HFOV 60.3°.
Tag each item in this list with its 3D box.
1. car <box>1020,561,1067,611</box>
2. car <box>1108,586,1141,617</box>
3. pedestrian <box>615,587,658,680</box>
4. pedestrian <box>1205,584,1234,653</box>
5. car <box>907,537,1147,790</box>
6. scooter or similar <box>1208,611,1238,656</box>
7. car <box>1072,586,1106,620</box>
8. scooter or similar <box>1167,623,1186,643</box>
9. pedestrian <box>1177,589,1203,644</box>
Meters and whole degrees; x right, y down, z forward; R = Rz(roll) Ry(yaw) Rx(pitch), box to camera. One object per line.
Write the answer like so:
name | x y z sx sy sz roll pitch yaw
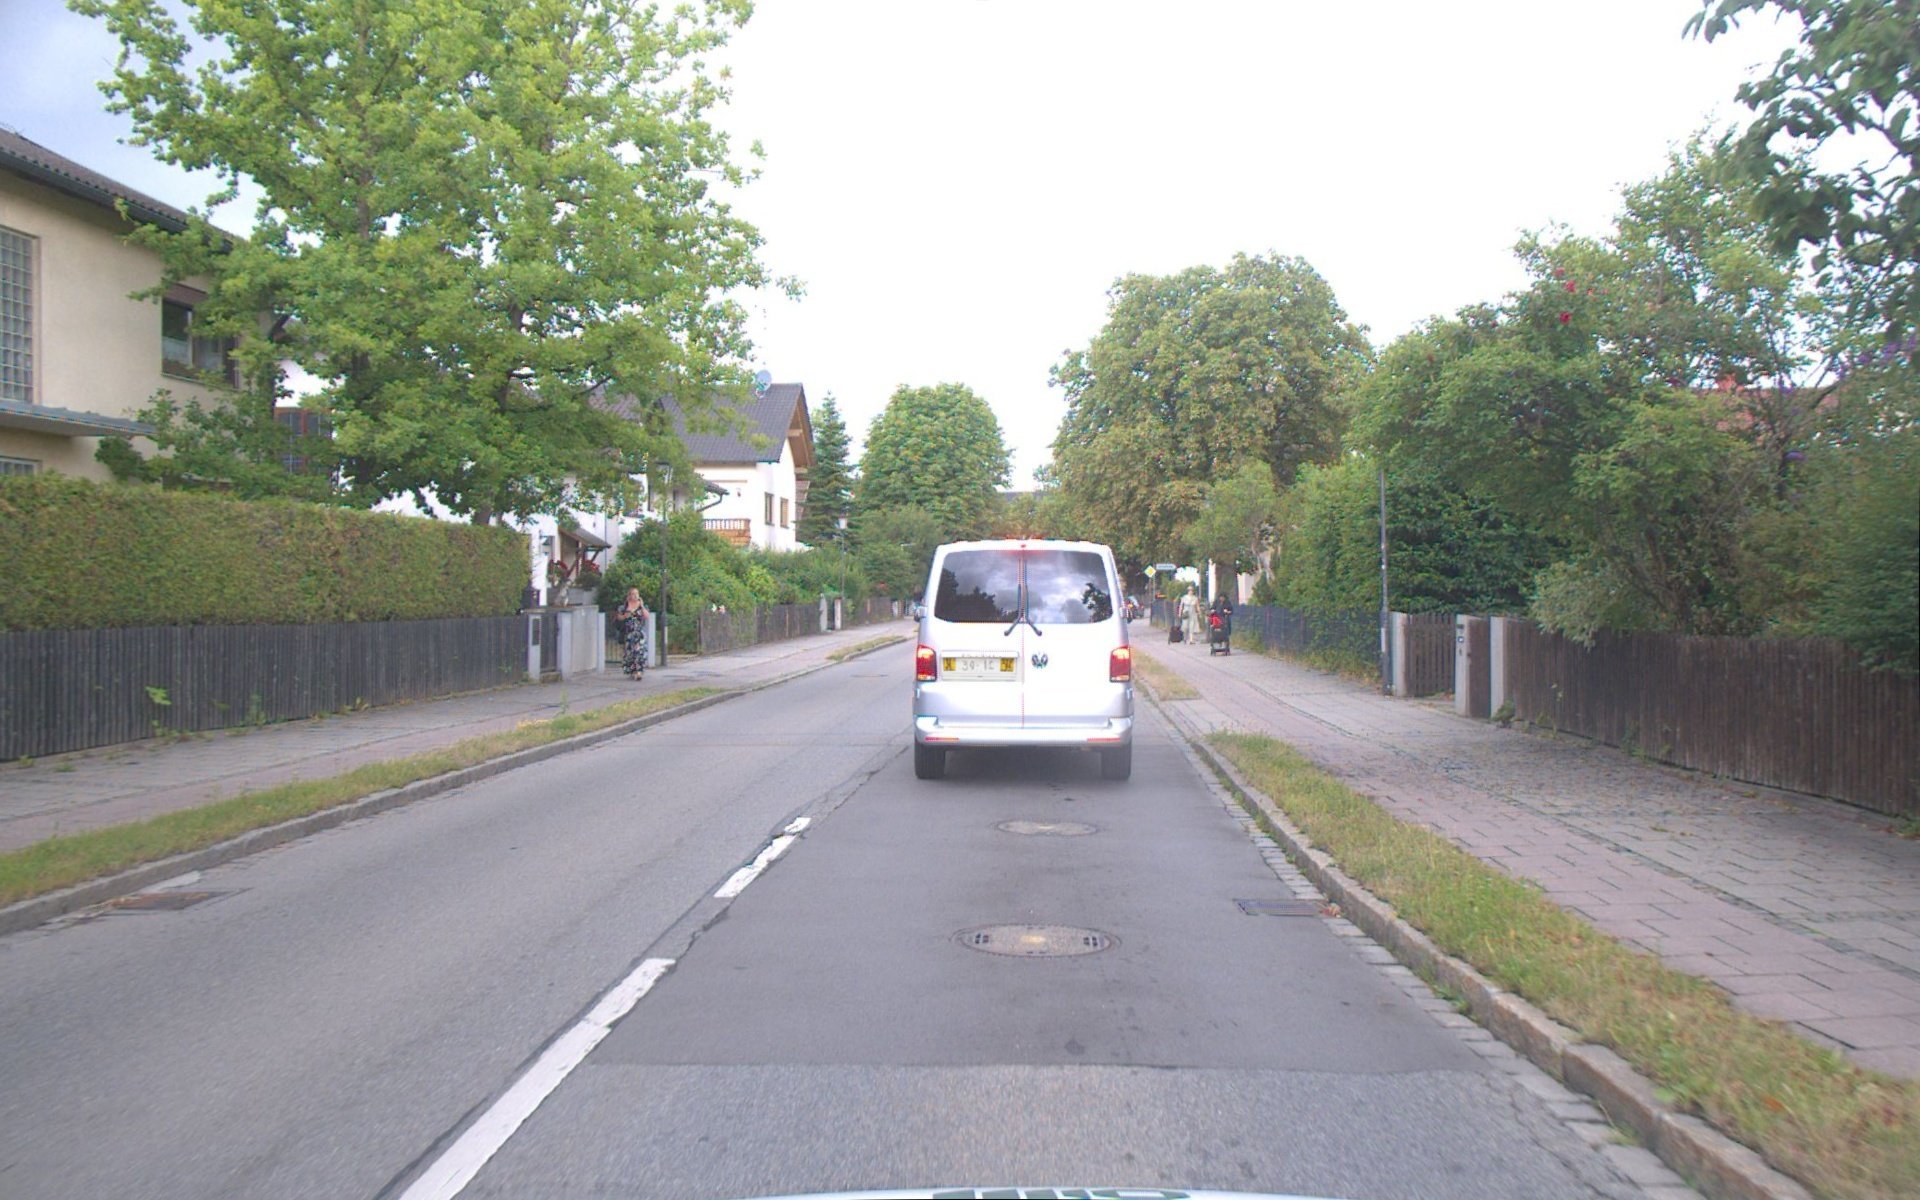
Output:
car | 3.645 -0.584 71.632 1.952 2.049 4.002 2 0 4
car | 11.053 0.100 110.958 1.951 2.049 4.003 -1 0 9
pedestrian | -5.600 0.574 28.628 0.610 1.576 0.522 2 0 -1
pedestrian | 6.019 0.432 38.346 0.540 1.576 0.612 2 0 -1
car | 0.602 0.501 14.916 1.848 1.945 4.001 1 0 2
scooter or similar | 5.990 0.763 37.683 0.540 0.988 0.620 2 0 -1
car | 7.886 0.169 100.739 1.951 2.049 4.003 -1 0 6
scooter or similar | 6.208 0.951 47.380 0.464 0.554 0.458 2 0 -1
pedestrian | 6.519 0.462 46.813 0.610 1.550 0.579 2 0 -1
